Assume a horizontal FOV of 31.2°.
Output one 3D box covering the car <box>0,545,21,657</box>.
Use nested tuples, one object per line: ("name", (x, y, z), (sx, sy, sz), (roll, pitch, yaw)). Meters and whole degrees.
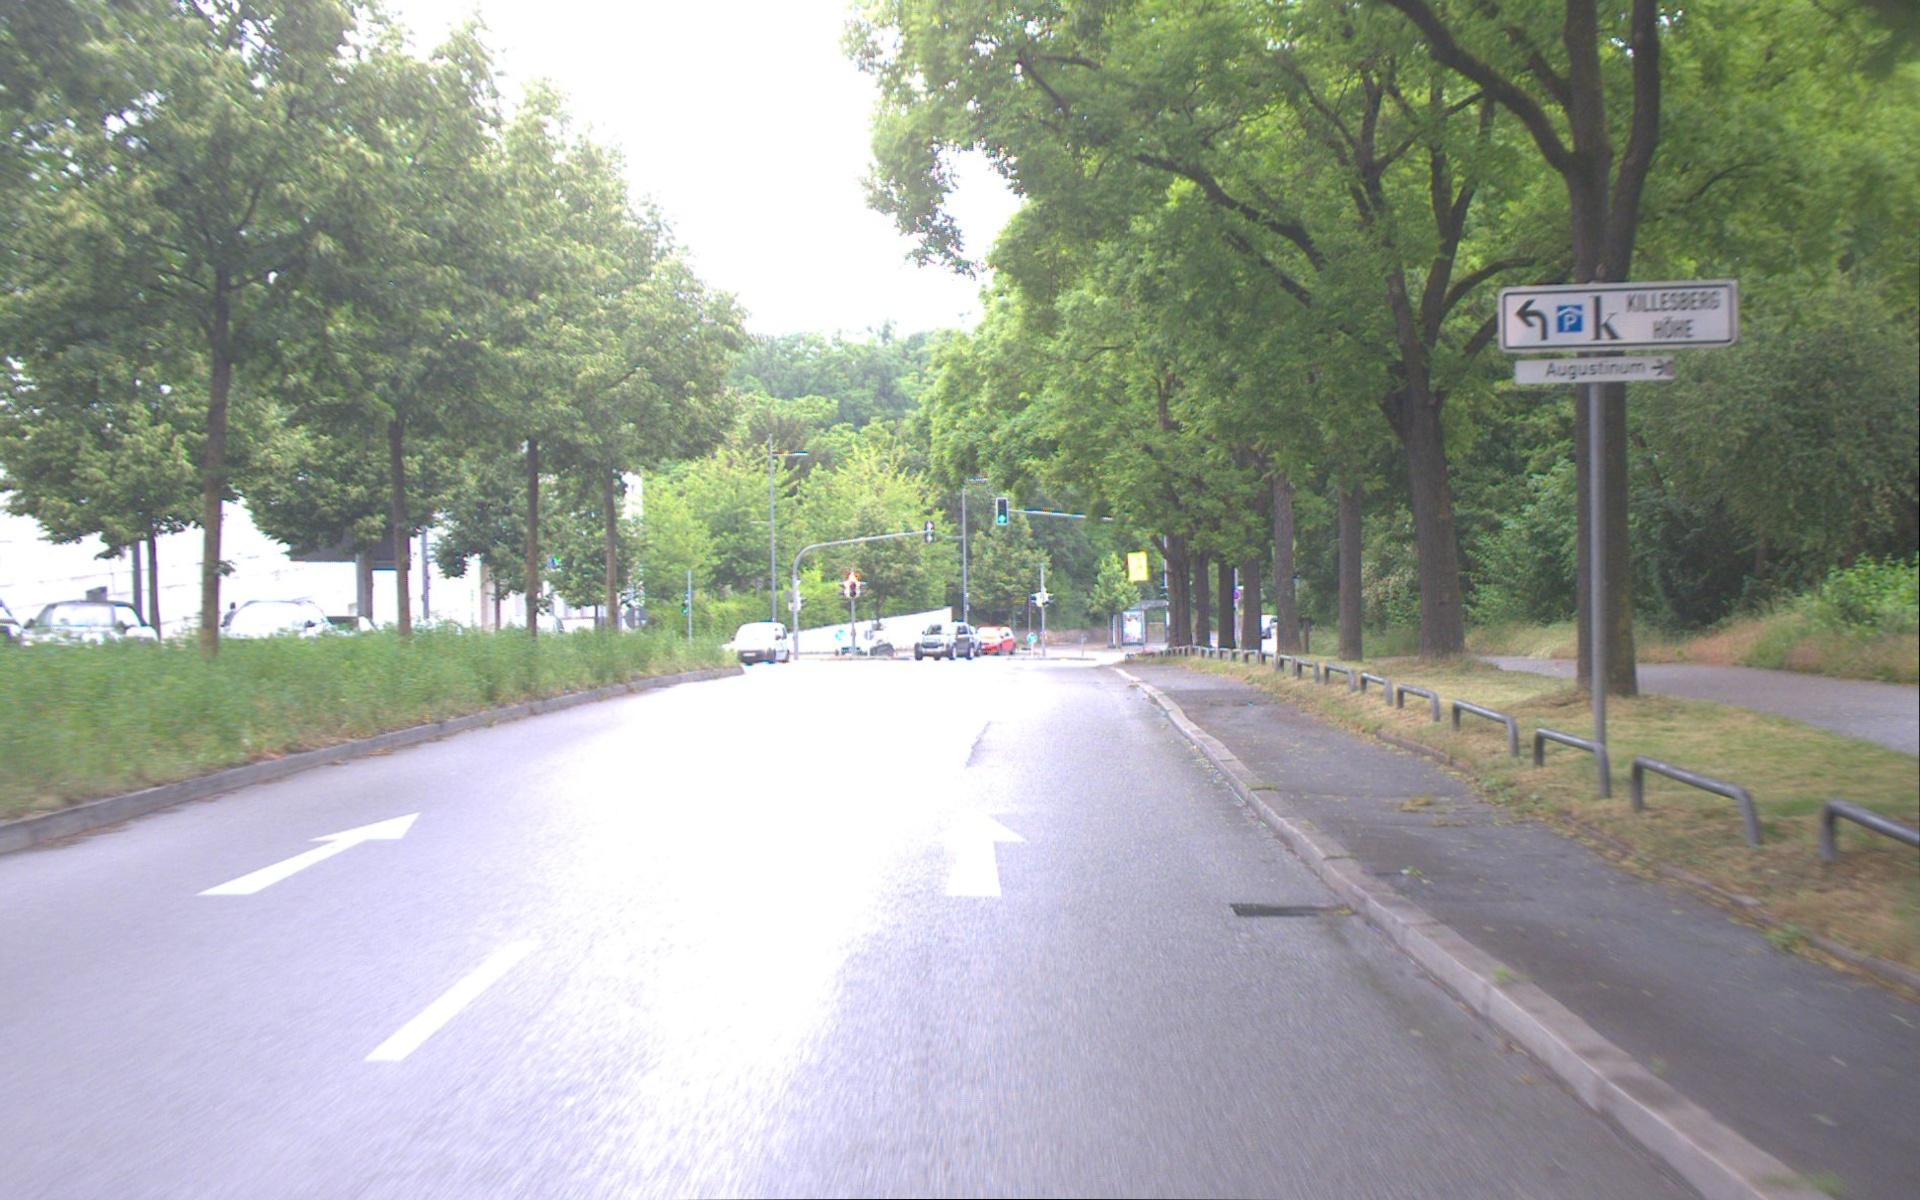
("car", (-14.483, 0.049, 47.669), (1.695, 1.576, 4.017), (-1, 1, 2))

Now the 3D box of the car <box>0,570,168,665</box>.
("car", (-14.332, 0.255, 56.116), (1.695, 1.439, 3.859), (0, 1, 4))

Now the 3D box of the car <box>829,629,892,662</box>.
("car", (-4.509, 2.066, 156.512), (1.771, 1.376, 4.187), (-2, -1, 14))

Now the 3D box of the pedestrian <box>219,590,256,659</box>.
("pedestrian", (-18.879, 0.645, 89.862), (0.708, 1.768, 1.021), (-1, -1, 1))

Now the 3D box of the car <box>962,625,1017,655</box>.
("car", (1.625, 2.184, 187.579), (1.876, 1.569, 4.219), (2, 0, 17))

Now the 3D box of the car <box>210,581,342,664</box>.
("car", (-13.850, 0.480, 69.831), (1.703, 1.615, 4.361), (0, -1, 2))

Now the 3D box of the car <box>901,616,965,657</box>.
("car", (-1.315, 1.788, 169.950), (1.922, 1.851, 4.503), (-5, -1, 15))

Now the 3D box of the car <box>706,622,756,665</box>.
("car", (-9.392, 1.776, 141.138), (1.710, 1.740, 4.337), (-1, -1, 1))
